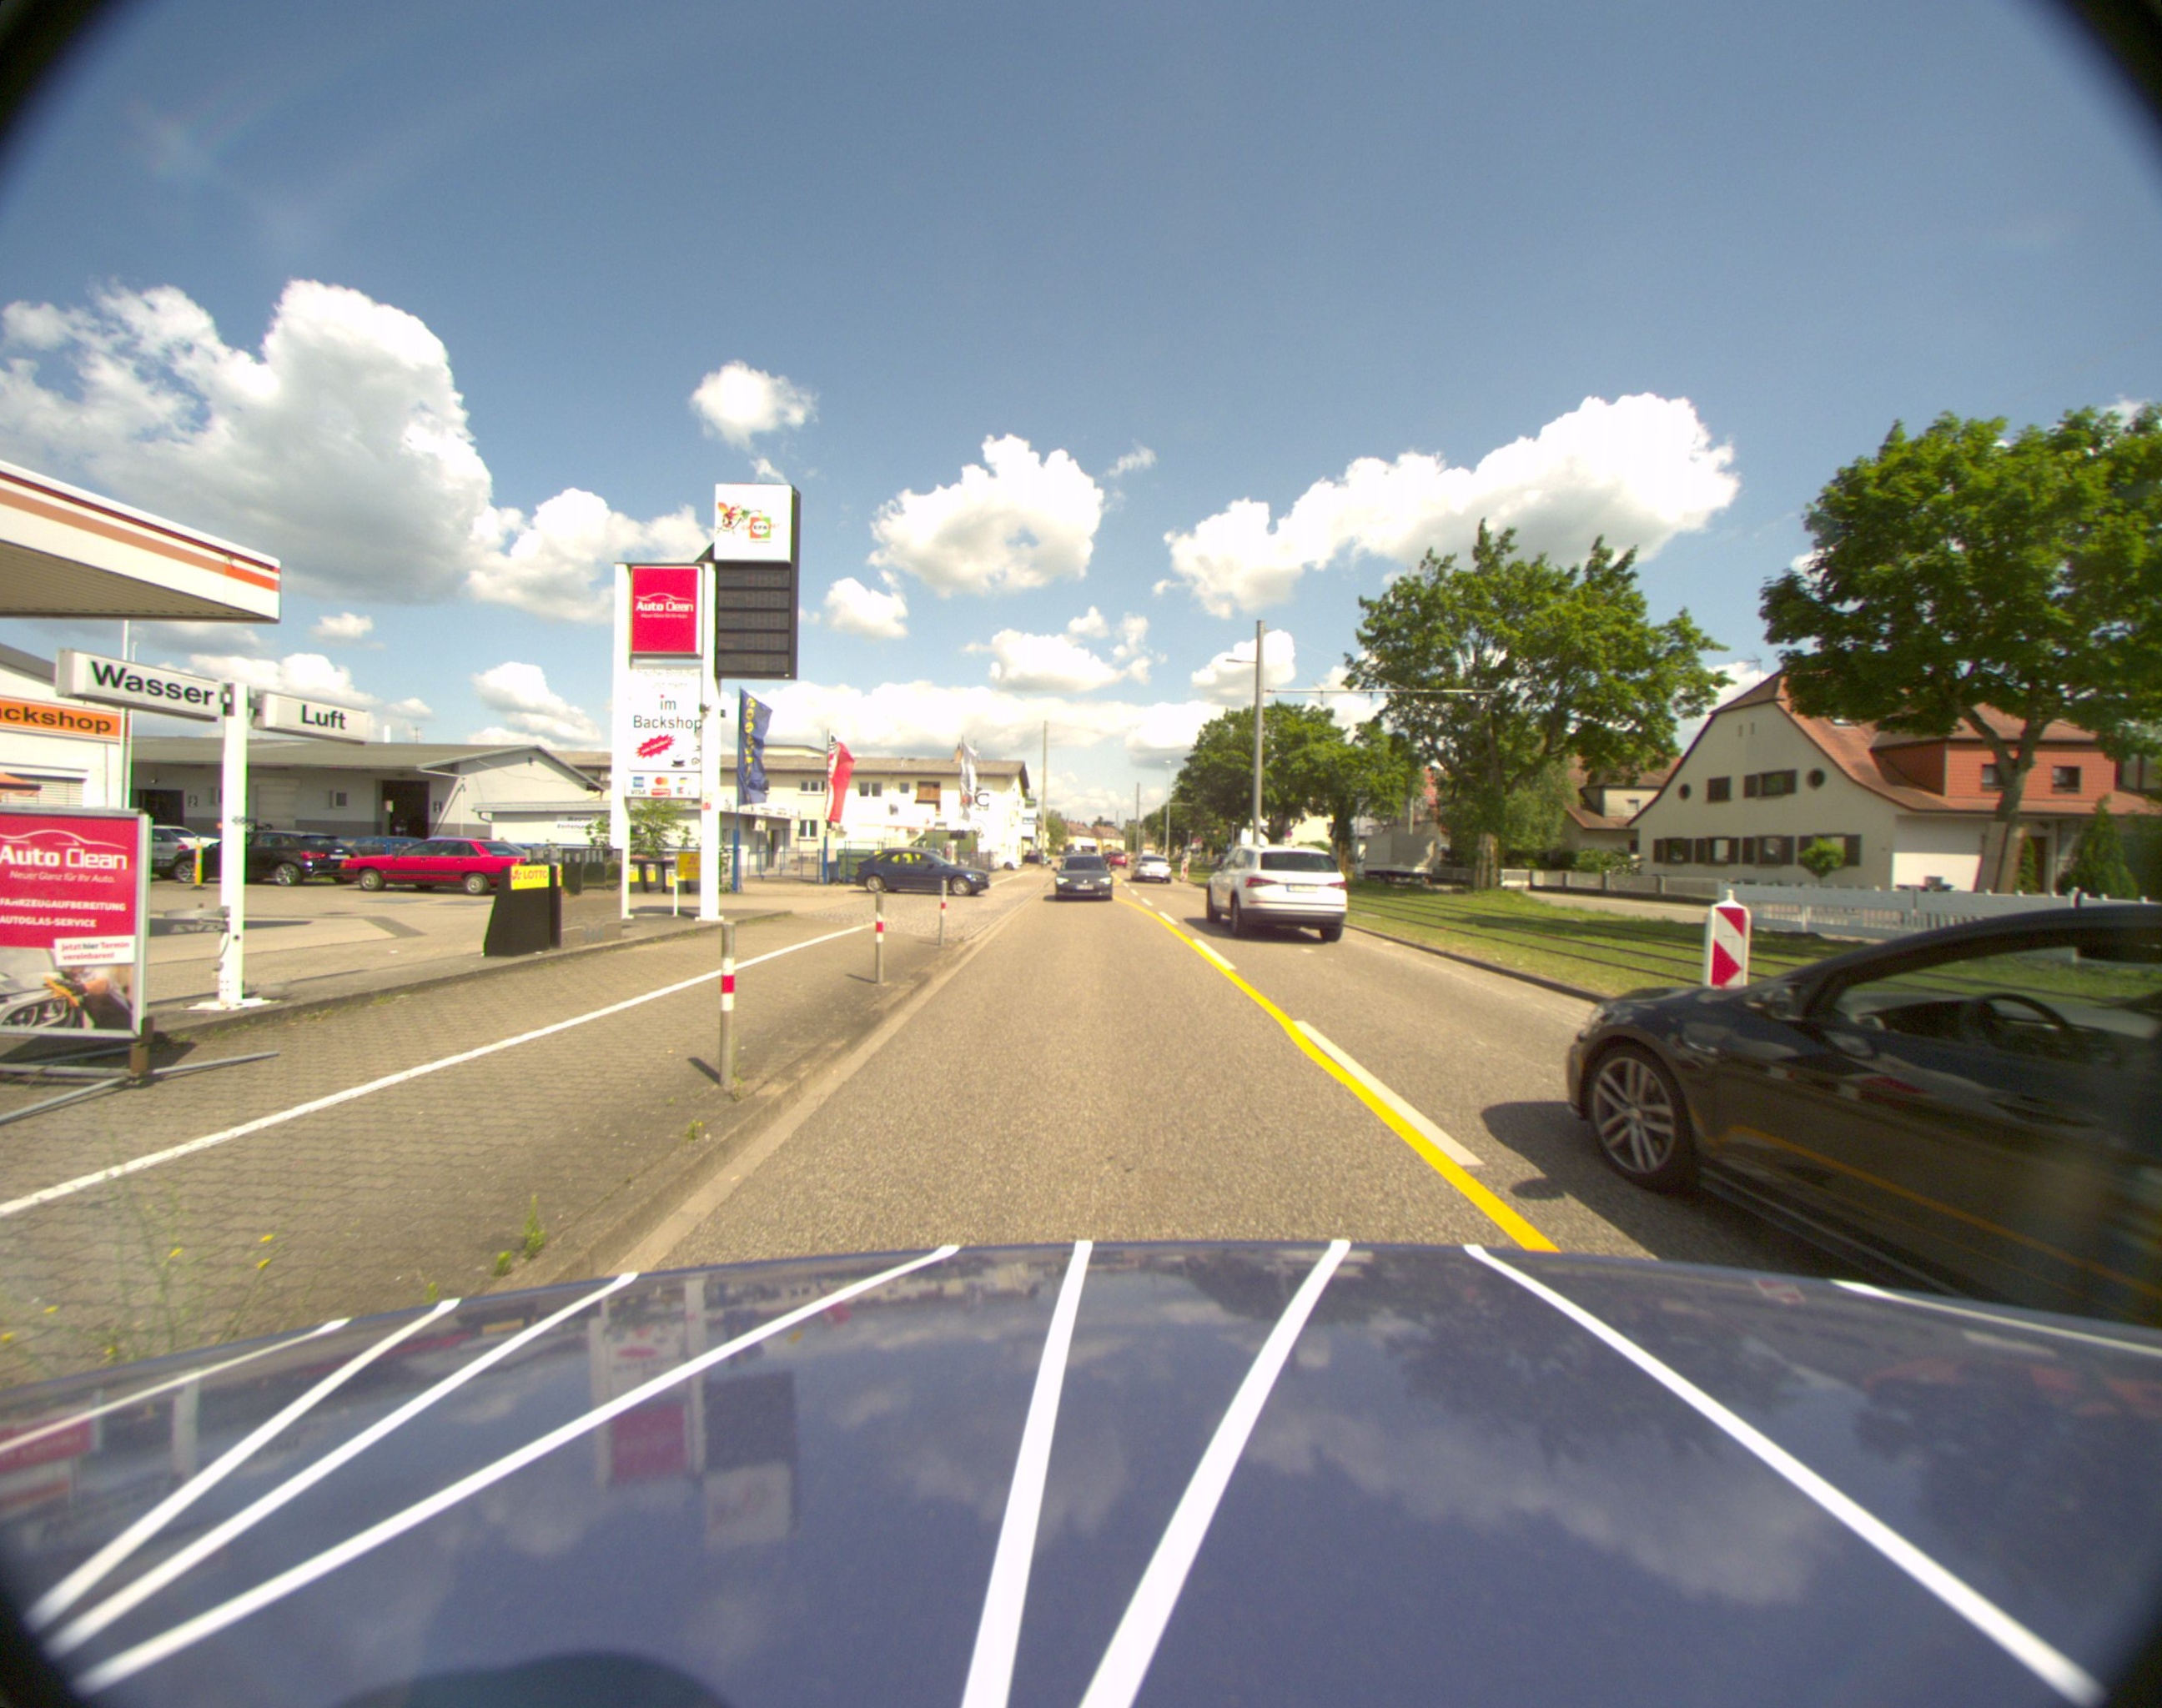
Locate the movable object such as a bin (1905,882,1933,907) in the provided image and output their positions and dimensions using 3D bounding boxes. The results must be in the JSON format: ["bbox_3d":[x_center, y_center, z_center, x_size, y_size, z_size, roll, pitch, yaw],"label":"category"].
[{"bbox_3d":[29.970,1.440,27.175,0.475,0.862,0.459,-1,2,-1],"label":"movable object such as a bin"}]

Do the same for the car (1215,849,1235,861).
[{"bbox_3d":[17.155,0.092,90.737,1.636,1.294,3.999,-1,1,1],"label":"car"}]

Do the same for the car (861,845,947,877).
[{"bbox_3d":[-8.900,0.329,38.237,3.901,1.454,1.627,1,2,17],"label":"car"}]

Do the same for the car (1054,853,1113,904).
[{"bbox_3d":[0.134,0.714,24.681,1.743,1.410,4.380,0,1,1],"label":"car"}]

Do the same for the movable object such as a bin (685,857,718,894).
[{"bbox_3d":[-10.893,0.612,21.825,0.582,1.004,0.706,-1,2,-1],"label":"movable object such as a bin"}]

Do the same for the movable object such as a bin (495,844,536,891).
[{"bbox_3d":[-15.858,0.374,21.327,0.582,1.289,0.706,-1,2,-1],"label":"movable object such as a bin"}]

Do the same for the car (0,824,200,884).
[{"bbox_3d":[-26.041,-0.017,20.161,3.592,1.416,1.528,2,2,2],"label":"car"}]

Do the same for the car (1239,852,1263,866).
[{"bbox_3d":[16.838,0.491,75.350,1.624,1.235,3.786,-1,1,1],"label":"car"}]

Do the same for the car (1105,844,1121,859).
[{"bbox_3d":[3.999,-0.326,95.061,1.801,1.680,4.220,2,1,0],"label":"car"}]

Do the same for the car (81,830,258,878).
[{"bbox_3d":[-27.841,-0.023,23.279,3.645,1.307,1.552,2,2,2],"label":"car"}]

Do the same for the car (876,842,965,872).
[{"bbox_3d":[-8.532,0.164,40.509,4.254,1.497,1.829,0,2,17],"label":"car"}]

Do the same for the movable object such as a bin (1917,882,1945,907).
[{"bbox_3d":[30.438,1.434,27.205,0.475,0.862,0.459,-1,2,-1],"label":"movable object such as a bin"}]

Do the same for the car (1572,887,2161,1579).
[{"bbox_3d":[3.280,0.951,1.761,1.696,1.405,3.858,3,1,0],"label":"car"}]

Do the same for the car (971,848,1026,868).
[{"bbox_3d":[-5.976,0.275,55.097,3.725,1.350,1.518,-1,2,4],"label":"car"}]

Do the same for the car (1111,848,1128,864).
[{"bbox_3d":[3.808,0.169,75.439,1.582,1.461,3.720,1,1,1],"label":"car"}]

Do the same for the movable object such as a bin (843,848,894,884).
[{"bbox_3d":[-8.627,0.472,30.941,1.536,1.402,1.765,-1,2,0],"label":"movable object such as a bin"}]

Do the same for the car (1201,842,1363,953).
[{"bbox_3d":[3.550,0.664,14.306,1.829,1.657,4.461,2,1,0],"label":"car"}]

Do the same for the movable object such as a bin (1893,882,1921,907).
[{"bbox_3d":[29.497,1.446,27.146,0.475,0.862,0.459,-1,2,-1],"label":"movable object such as a bin"}]

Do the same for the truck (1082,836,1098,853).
[{"bbox_3d":[1.676,-1.704,133.599,2.632,2.872,7.922,-1,1,1],"label":"truck"}]

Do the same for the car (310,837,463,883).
[{"bbox_3d":[-20.925,0.155,22.982,3.309,1.218,1.487,2,2,2],"label":"car"}]

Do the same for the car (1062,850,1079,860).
[{"bbox_3d":[-1.515,0.150,110.883,1.823,1.412,4.002,1,1,7],"label":"car"}]

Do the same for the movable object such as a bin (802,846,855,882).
[{"bbox_3d":[-10.251,0.391,30.908,1.536,1.402,1.765,-1,2,0],"label":"movable object such as a bin"}]

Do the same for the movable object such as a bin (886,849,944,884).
[{"bbox_3d":[-6.719,0.471,30.958,1.968,1.339,1.708,-1,2,0],"label":"movable object such as a bin"}]

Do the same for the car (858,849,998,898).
[{"bbox_3d":[-4.820,0.599,24.248,4.061,1.400,1.648,1,2,7],"label":"car"}]

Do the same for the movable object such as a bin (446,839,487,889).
[{"bbox_3d":[-17.414,0.278,21.535,0.582,1.383,0.706,1,1,-1],"label":"movable object such as a bin"}]

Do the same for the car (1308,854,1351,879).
[{"bbox_3d":[16.789,0.824,51.488,1.672,1.504,3.930,-1,1,1],"label":"car"}]

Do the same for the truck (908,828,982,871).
[{"bbox_3d":[-8.509,-0.294,47.896,4.181,2.645,2.108,-1,2,2],"label":"truck"}]

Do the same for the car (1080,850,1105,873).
[{"bbox_3d":[0.785,0.447,51.246,1.594,1.418,3.706,-1,1,1],"label":"car"}]

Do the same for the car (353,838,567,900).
[{"bbox_3d":[-16.010,0.346,19.724,4.144,1.416,1.771,2,2,2],"label":"car"}]

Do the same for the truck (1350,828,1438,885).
[{"bbox_3d":[16.672,0.061,40.883,2.371,2.789,5.950,-1,1,1],"label":"truck"}]

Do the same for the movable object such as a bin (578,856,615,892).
[{"bbox_3d":[-13.841,0.565,21.718,0.582,1.004,0.706,-1,2,-1],"label":"movable object such as a bin"}]

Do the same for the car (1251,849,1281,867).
[{"bbox_3d":[16.706,0.368,68.838,1.707,1.504,4.523,-1,1,1],"label":"car"}]

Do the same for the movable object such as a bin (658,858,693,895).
[{"bbox_3d":[-11.546,0.624,21.664,0.582,1.004,0.706,-1,2,-1],"label":"movable object such as a bin"}]

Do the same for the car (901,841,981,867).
[{"bbox_3d":[-8.269,-0.020,45.120,4.257,1.499,1.828,0,2,8],"label":"car"}]

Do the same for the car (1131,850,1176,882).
[{"bbox_3d":[3.679,0.578,39.124,1.825,1.437,4.483,2,0,0],"label":"car"}]
